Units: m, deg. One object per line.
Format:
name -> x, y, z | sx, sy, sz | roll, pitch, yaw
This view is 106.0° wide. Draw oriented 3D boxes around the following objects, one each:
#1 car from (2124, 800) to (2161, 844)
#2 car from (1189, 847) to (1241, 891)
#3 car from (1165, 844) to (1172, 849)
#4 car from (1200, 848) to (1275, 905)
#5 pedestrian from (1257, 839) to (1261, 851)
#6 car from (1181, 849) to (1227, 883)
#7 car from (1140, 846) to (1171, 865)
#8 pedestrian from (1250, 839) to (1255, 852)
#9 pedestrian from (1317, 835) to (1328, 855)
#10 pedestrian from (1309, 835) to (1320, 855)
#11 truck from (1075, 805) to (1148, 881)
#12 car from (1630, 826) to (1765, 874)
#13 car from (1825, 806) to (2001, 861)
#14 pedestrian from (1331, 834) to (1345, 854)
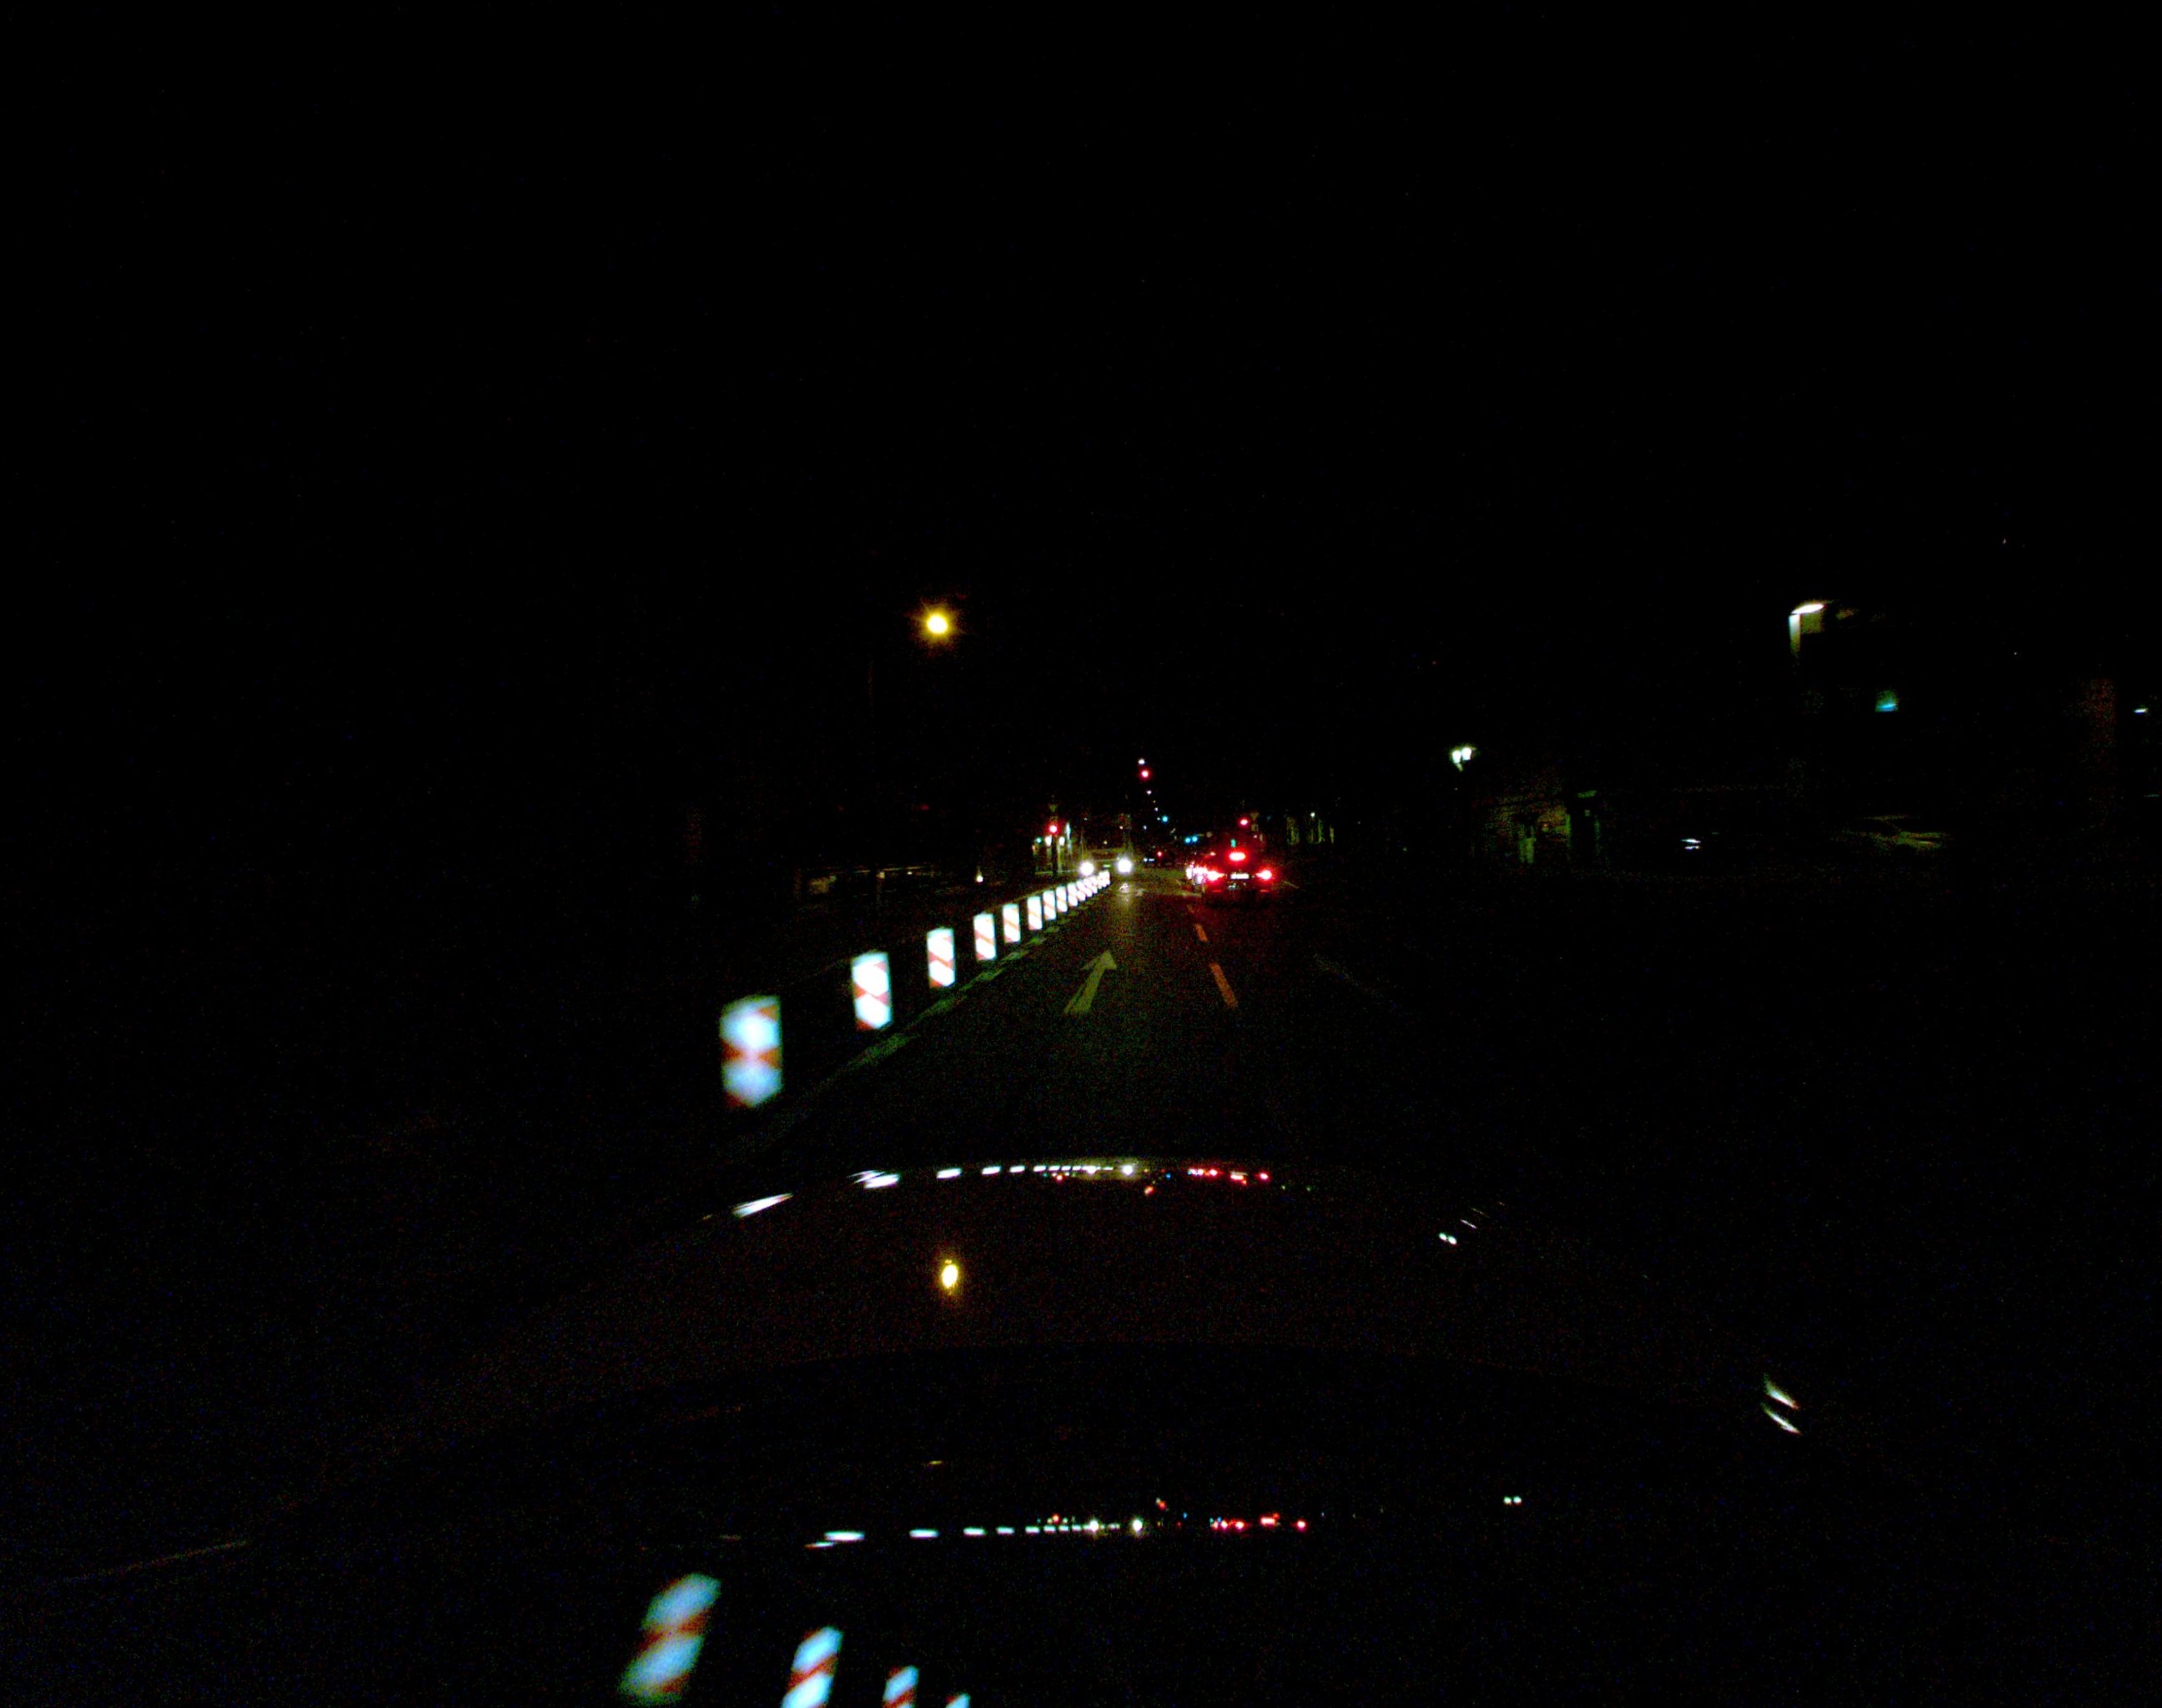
car -> 36.065, -1.090, 25.319 | 1.984, 1.428, 4.247 | -3, 0, 5
car -> 4.879, 0.516, 30.060 | 1.629, 1.494, 4.006 | -1, 0, 5
car -> 27.750, -2.376, 258.933 | 1.985, 1.596, 4.004 | -3, 0, 3
car -> 4.450, 0.580, 23.752 | 1.795, 1.494, 4.738 | -1, 0, 6
pedestrian -> 29.044, -1.494, 132.679 | 0.485, 2.013, 0.551 | -3, 0, 5
car -> 5.482, 0.512, 36.759 | 1.721, 1.435, 4.216 | -1, 0, 4
car -> 6.713, 0.108, 72.957 | 1.978, 1.640, 4.017 | -2, 0, 16
pedestrian -> 27.907, -1.413, 132.641 | 0.529, 2.013, 0.671 | -3, 0, 5
pedestrian -> 21.782, -0.817, 73.465 | 0.735, 1.769, 0.908 | -3, 0, 5
pedestrian -> 20.990, -0.813, 73.306 | 0.710, 1.769, 0.908 | -3, 0, 5
truck -> 1.952, -0.593, 46.673 | 2.739, 3.717, 10.138 | -4, 0, 9
car -> 20.413, -0.129, 27.222 | 1.505, 1.395, 4.490 | -3, 0, 7
car -> 26.563, -0.612, 26.214 | 1.773, 1.533, 4.007 | -3, 0, 6
pedestrian -> 23.129, -0.882, 73.243 | 0.896, 1.769, 0.908 | -3, 0, 5
